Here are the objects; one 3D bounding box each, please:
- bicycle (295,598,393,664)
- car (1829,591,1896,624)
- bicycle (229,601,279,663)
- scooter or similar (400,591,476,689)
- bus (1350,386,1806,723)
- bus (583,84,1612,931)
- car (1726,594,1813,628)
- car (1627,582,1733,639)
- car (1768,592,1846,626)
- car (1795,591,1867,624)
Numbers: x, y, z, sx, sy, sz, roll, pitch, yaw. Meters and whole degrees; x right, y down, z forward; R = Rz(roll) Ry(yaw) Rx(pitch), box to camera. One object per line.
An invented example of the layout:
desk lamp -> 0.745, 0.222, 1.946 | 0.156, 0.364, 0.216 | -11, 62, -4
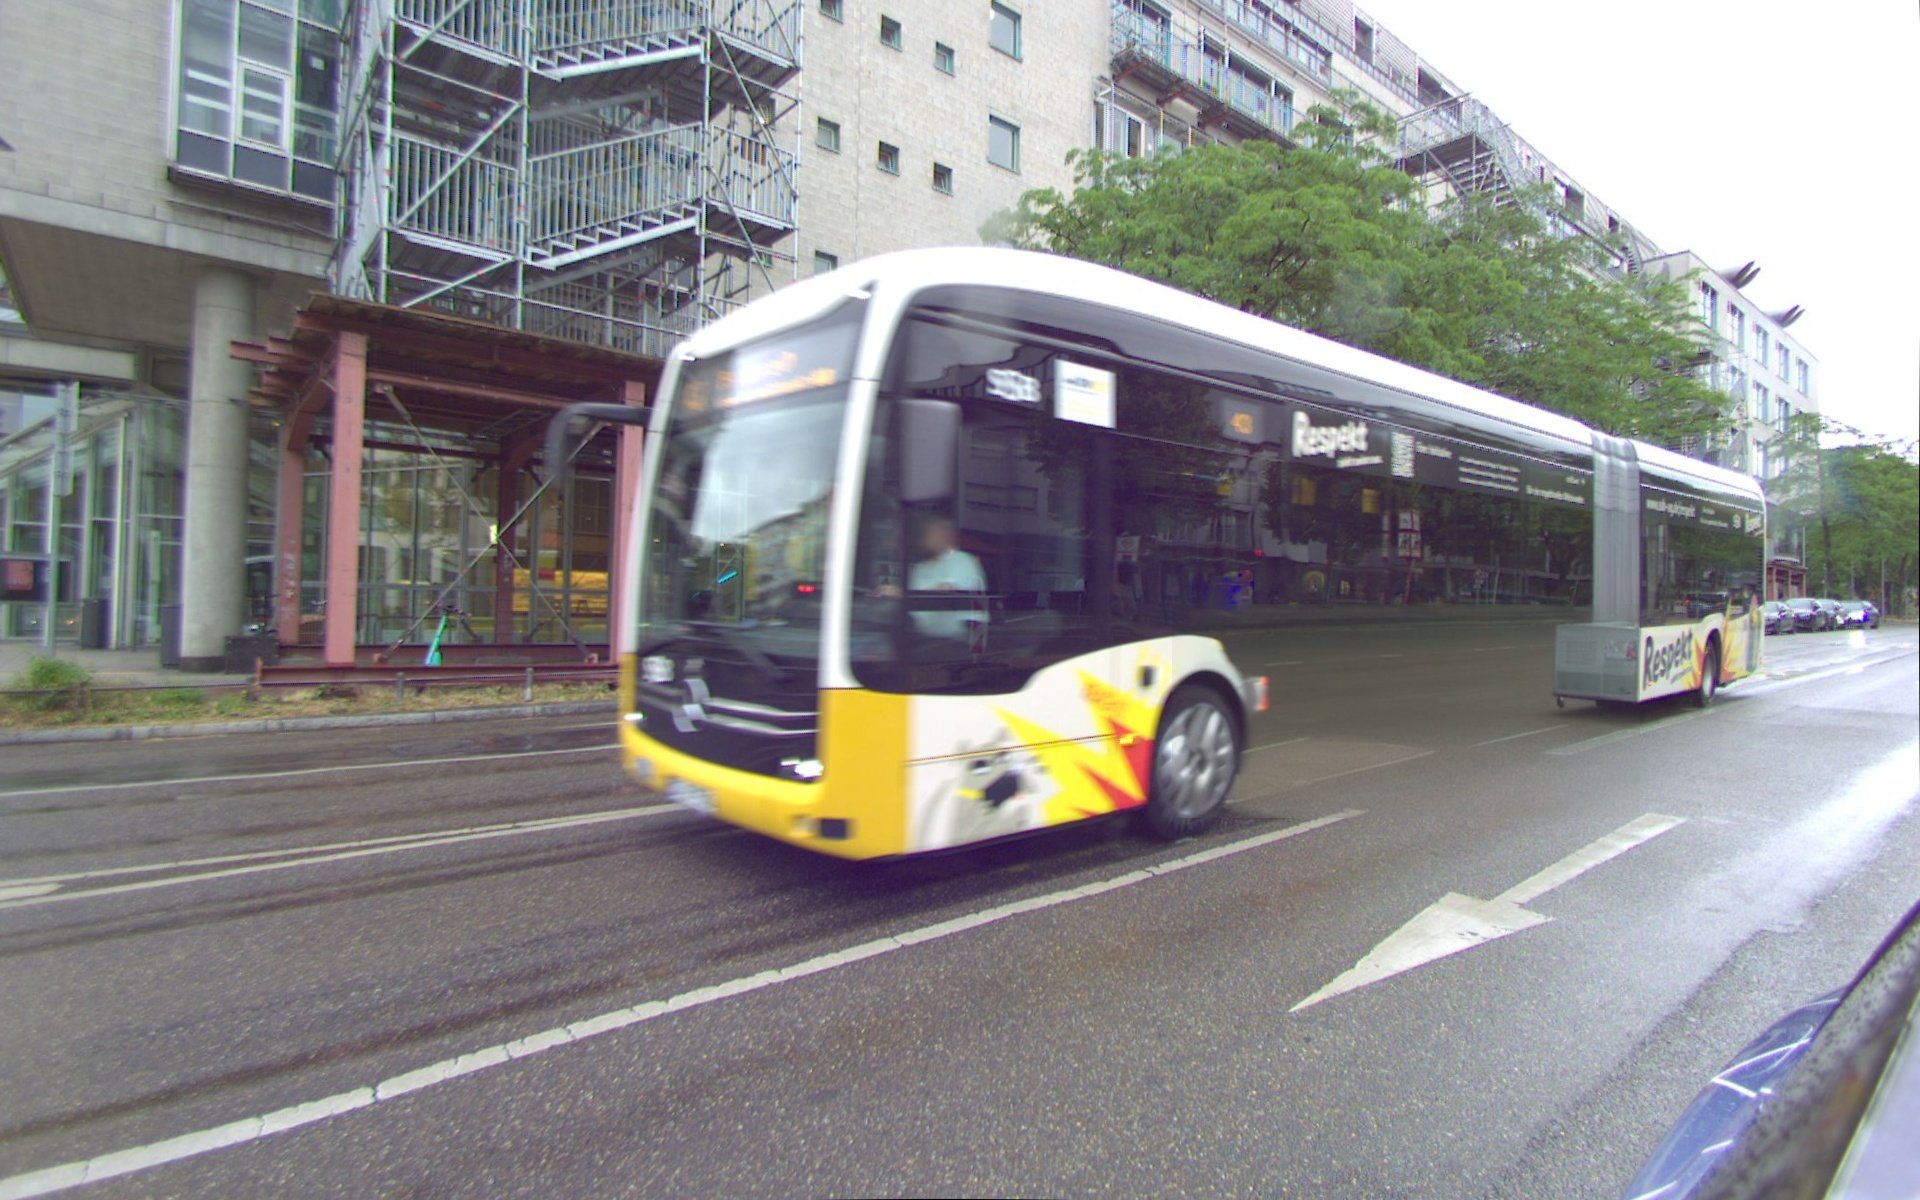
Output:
bicycle -> -11.987, 0.577, 19.734 | 0.580, 1.209, 1.602 | 0, 0, 24
car -> 48.932, 0.358, 54.851 | 4.733, 1.667, 2.145 | -1, 0, -41
bicycle -> -14.439, 0.628, 20.684 | 0.577, 1.209, 1.611 | 0, 0, -44
scooter or similar -> -6.939, 0.490, 13.410 | 0.576, 1.209, 1.782 | 1, 0, -38
bus -> 9.424, -0.528, 14.687 | 9.541, 3.483, 2.888 | -1, 0, -41
bus -> 2.175, -0.437, 8.417 | 9.586, 3.494, 2.888 | -1, 0, -41
car -> 35.091, 0.430, 43.814 | 4.733, 1.353, 2.145 | -1, 1, -41
car -> 26.066, 0.336, 36.585 | 4.254, 1.930, 2.211 | -1, 0, -41
car -> 40.247, 0.397, 48.064 | 4.733, 1.513, 2.145 | -1, 1, -41
car -> 44.358, 0.369, 51.526 | 4.733, 1.580, 2.145 | -1, 1, -41
